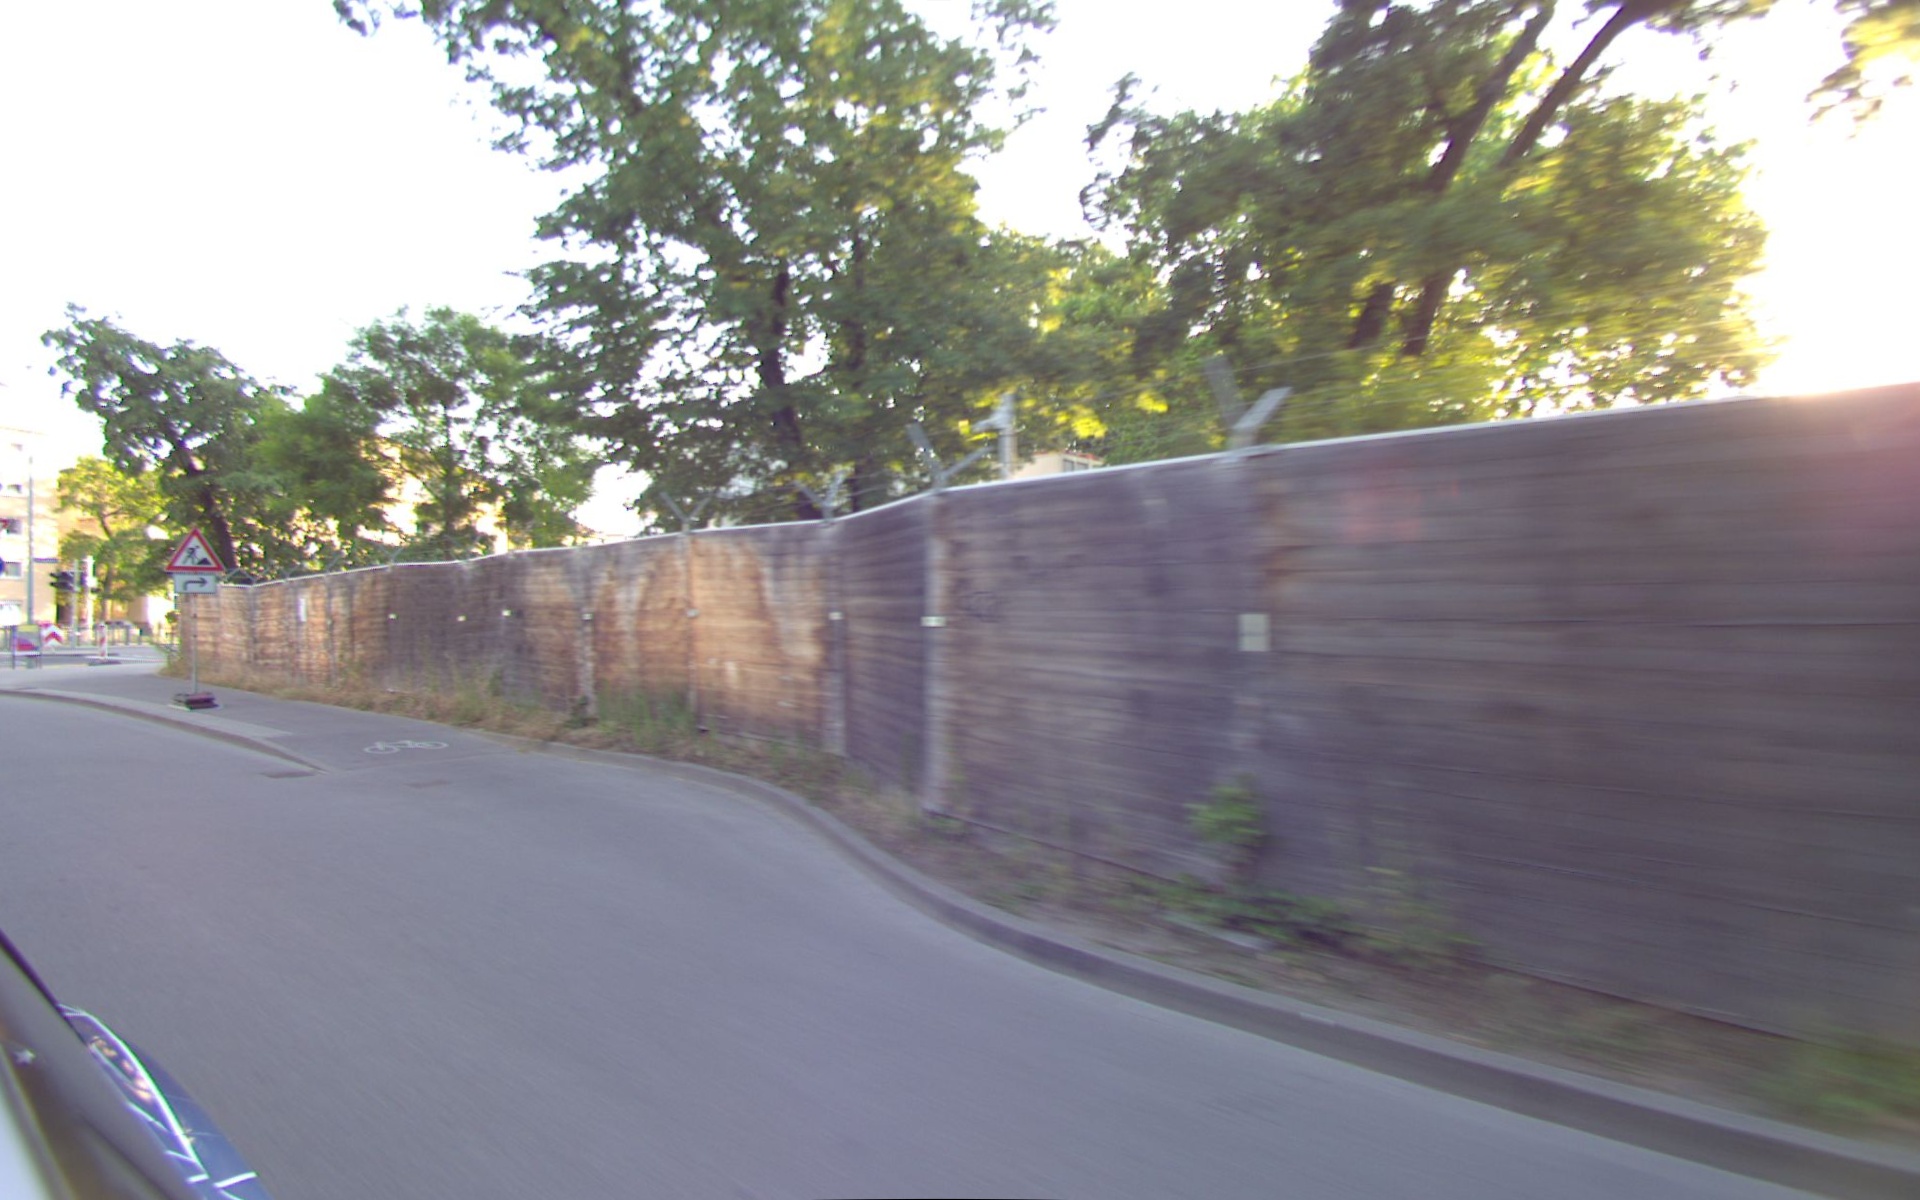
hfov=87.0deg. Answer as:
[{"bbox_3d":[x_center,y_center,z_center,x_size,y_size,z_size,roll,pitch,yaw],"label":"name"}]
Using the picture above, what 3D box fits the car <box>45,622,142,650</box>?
[{"bbox_3d":[-51.016,2.098,59.662,1.979,1.516,3.985,1,-1,11],"label":"car"}]
